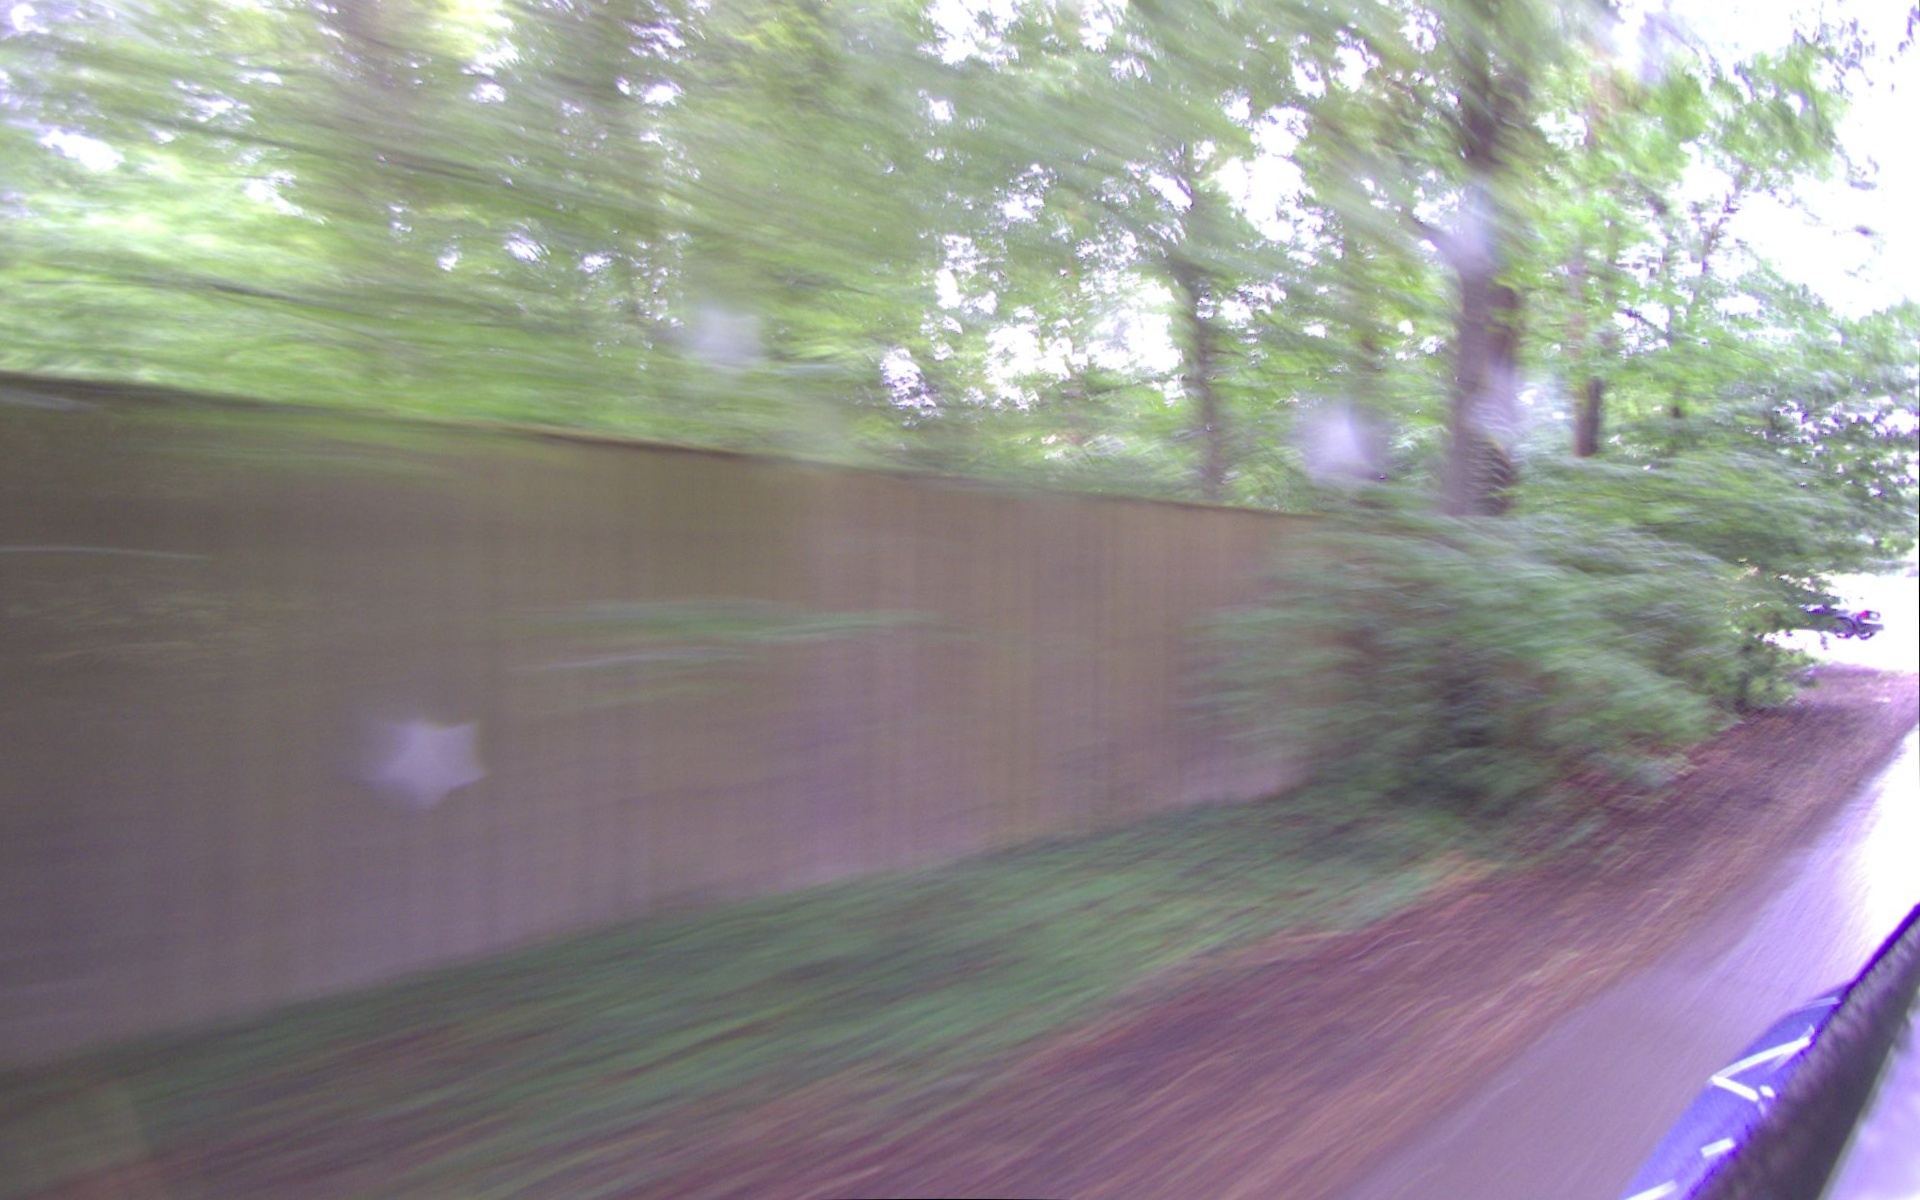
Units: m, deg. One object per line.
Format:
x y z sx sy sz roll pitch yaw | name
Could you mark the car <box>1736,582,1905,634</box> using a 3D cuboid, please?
27.357 0.215 32.291 1.672 1.453 3.725 0 2 -29 | car
